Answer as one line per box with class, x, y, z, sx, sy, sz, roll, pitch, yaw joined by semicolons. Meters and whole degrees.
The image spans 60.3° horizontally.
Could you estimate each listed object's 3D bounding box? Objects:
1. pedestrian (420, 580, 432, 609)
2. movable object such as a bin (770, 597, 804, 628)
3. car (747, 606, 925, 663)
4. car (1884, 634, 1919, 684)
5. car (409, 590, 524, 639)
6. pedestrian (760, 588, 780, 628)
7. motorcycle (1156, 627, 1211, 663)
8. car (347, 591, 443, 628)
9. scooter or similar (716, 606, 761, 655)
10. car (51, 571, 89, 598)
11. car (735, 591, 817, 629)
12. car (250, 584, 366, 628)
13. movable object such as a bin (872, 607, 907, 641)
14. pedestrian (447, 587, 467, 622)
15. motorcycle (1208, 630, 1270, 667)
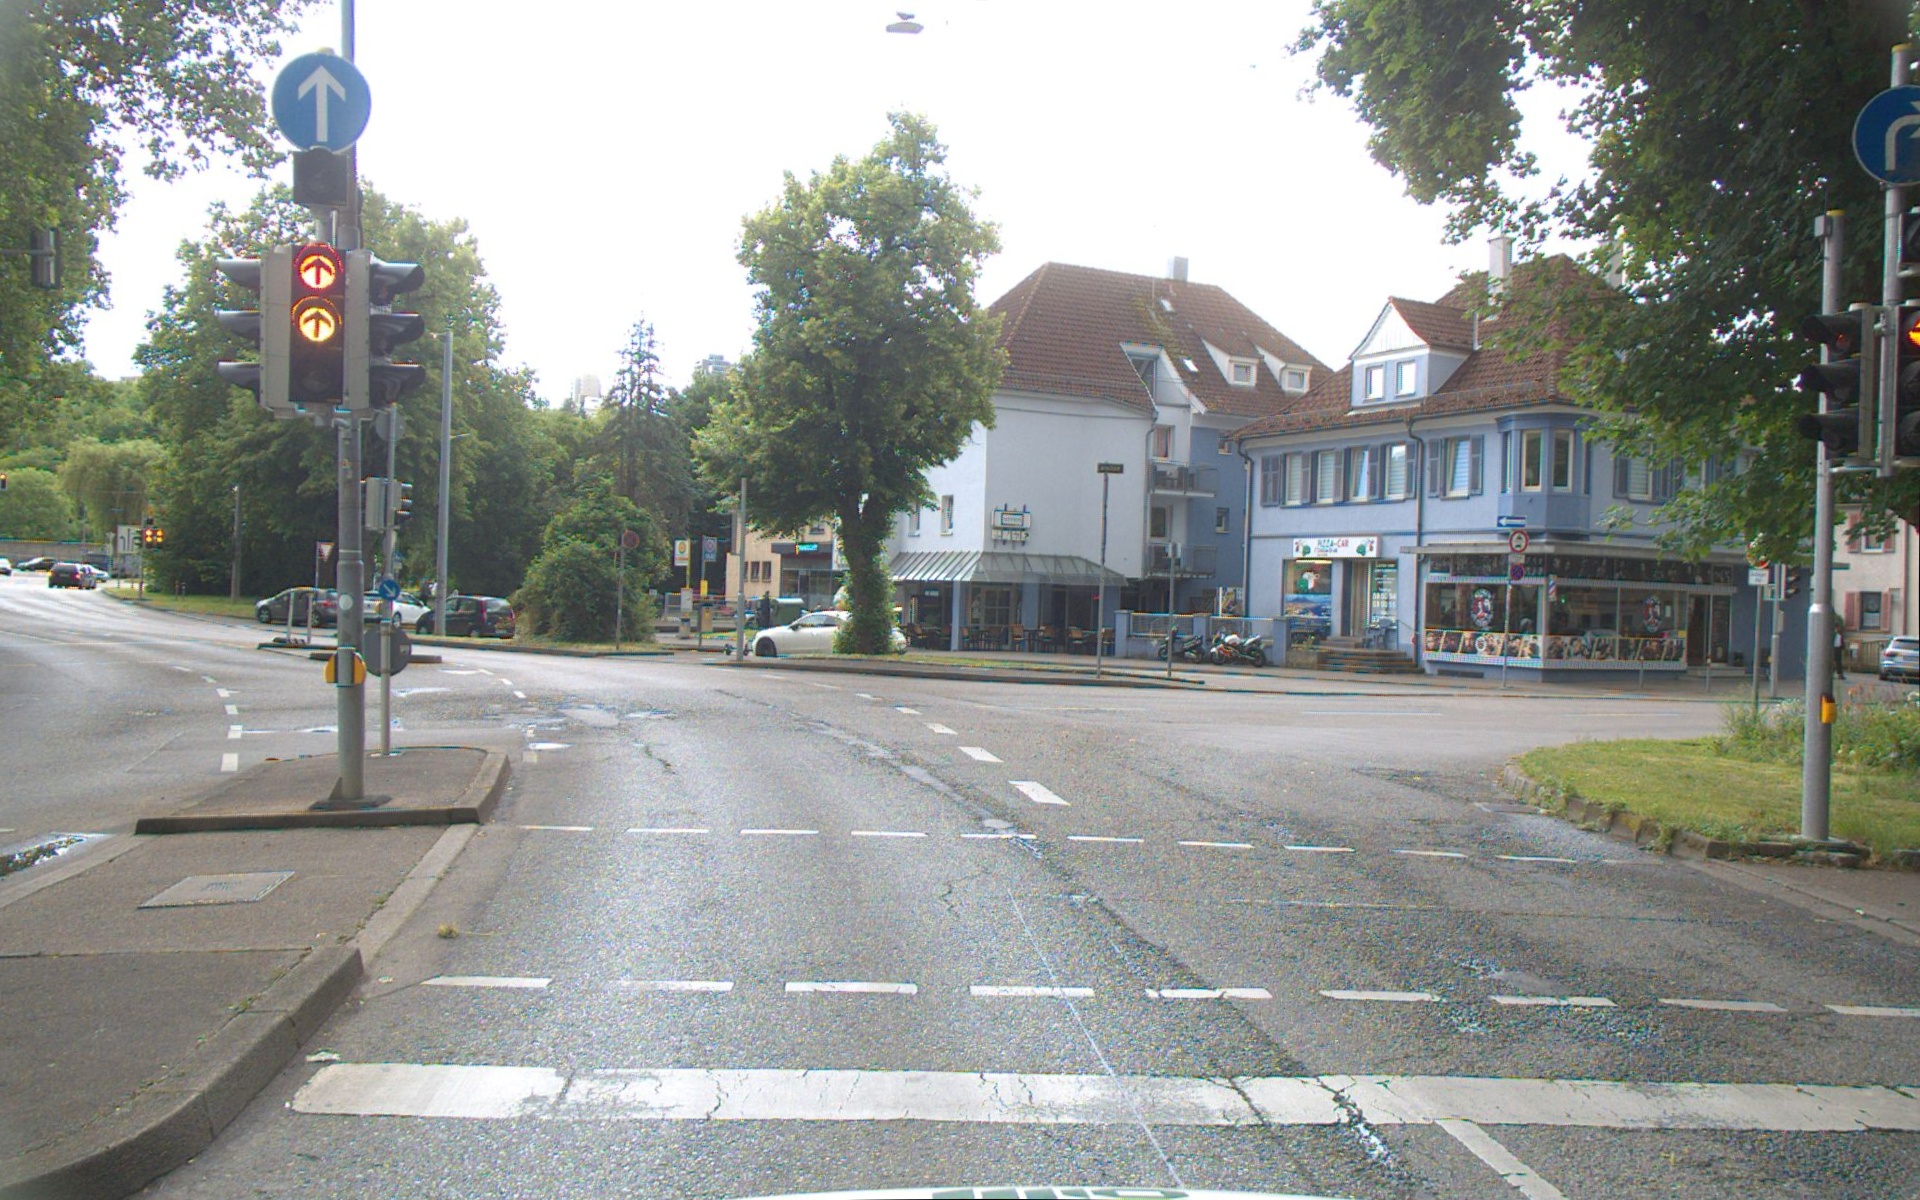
pedestrian;-29.223;-0.294;90.477;0.503;1.558;0.772;2;-1;-23
movable object such as a bin;-7.712;0.562;73.812;1.204;1.368;0.984;1;-1;-32
car;-3.443;0.926;45.713;4.689;1.411;1.994;1;0;34
car;29.767;1.821;51.654;1.537;1.488;3.433;2;0;29
car;-15.966;0.457;53.533;3.416;1.428;1.571;2;0;28
pedestrian;-8.553;0.362;74.486;0.680;1.760;0.605;1;-1;-32
motorcycle;6.770;1.354;50.162;1.695;1.049;0.487;1;0;43
car;-22.668;0.388;66.527;1.721;1.405;4.265;2;0;11
scooter or similar;-5.701;0.790;42.624;0.403;1.187;1.361;1;-3;25
car;-53.275;-0.928;98.931;1.804;1.536;4.527;1;0;-31
car;-8.403;0.447;75.617;3.371;1.659;1.611;1;0;-26
car;-25.156;0.225;63.829;4.016;1.454;1.733;3;0;21
movable object such as a bin;-3.008;1.009;70.474;1.197;1.419;1.153;1;0;-22
pedestrian;-22.907;0.201;75.285;0.677;1.578;0.734;2;0;-32
motorcycle;8.176;1.408;48.447;1.791;1.003;0.518;1;-1;43
